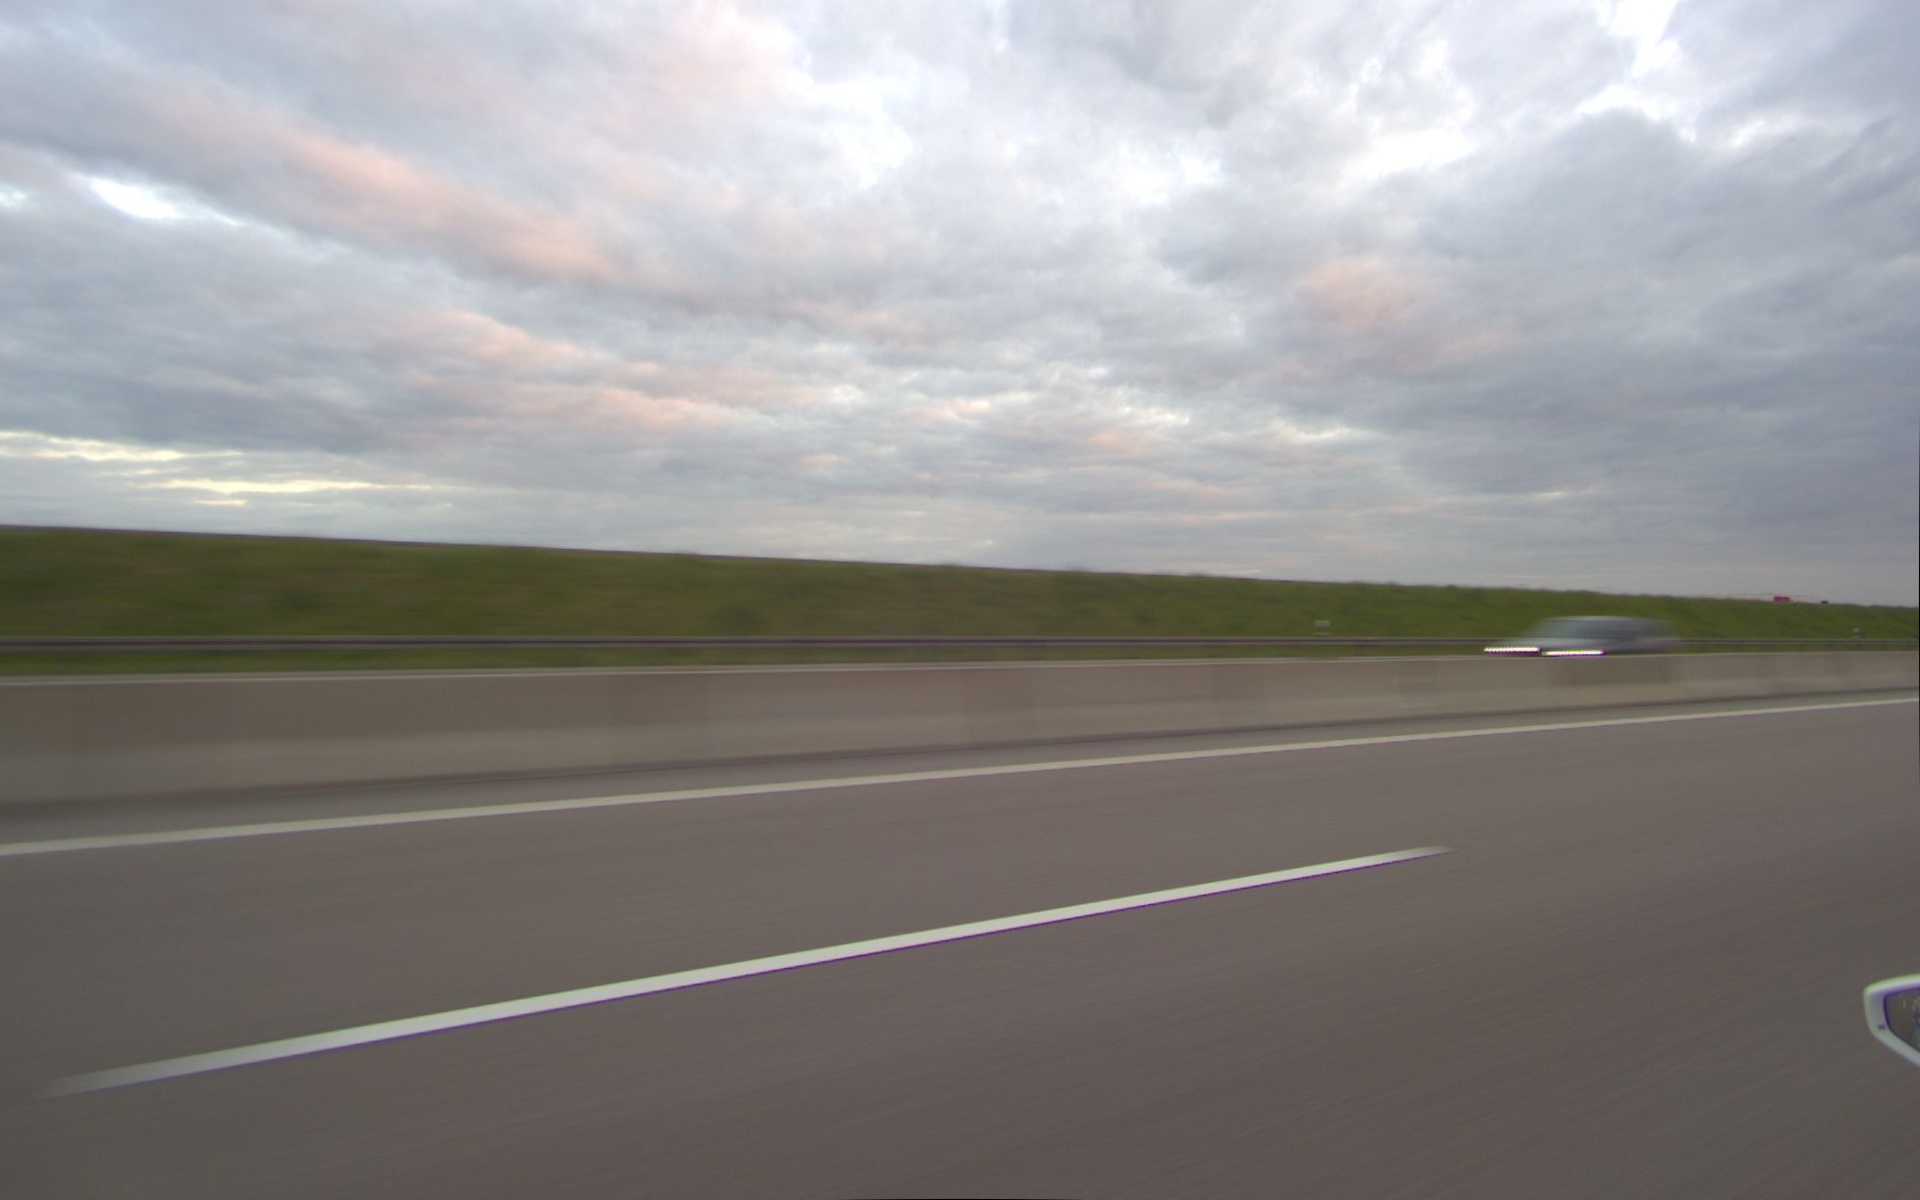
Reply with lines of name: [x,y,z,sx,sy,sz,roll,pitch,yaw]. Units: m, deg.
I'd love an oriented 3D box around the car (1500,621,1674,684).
car: [15.781,1.278,25.225,4.616,1.454,1.802,1,-1,-30]
